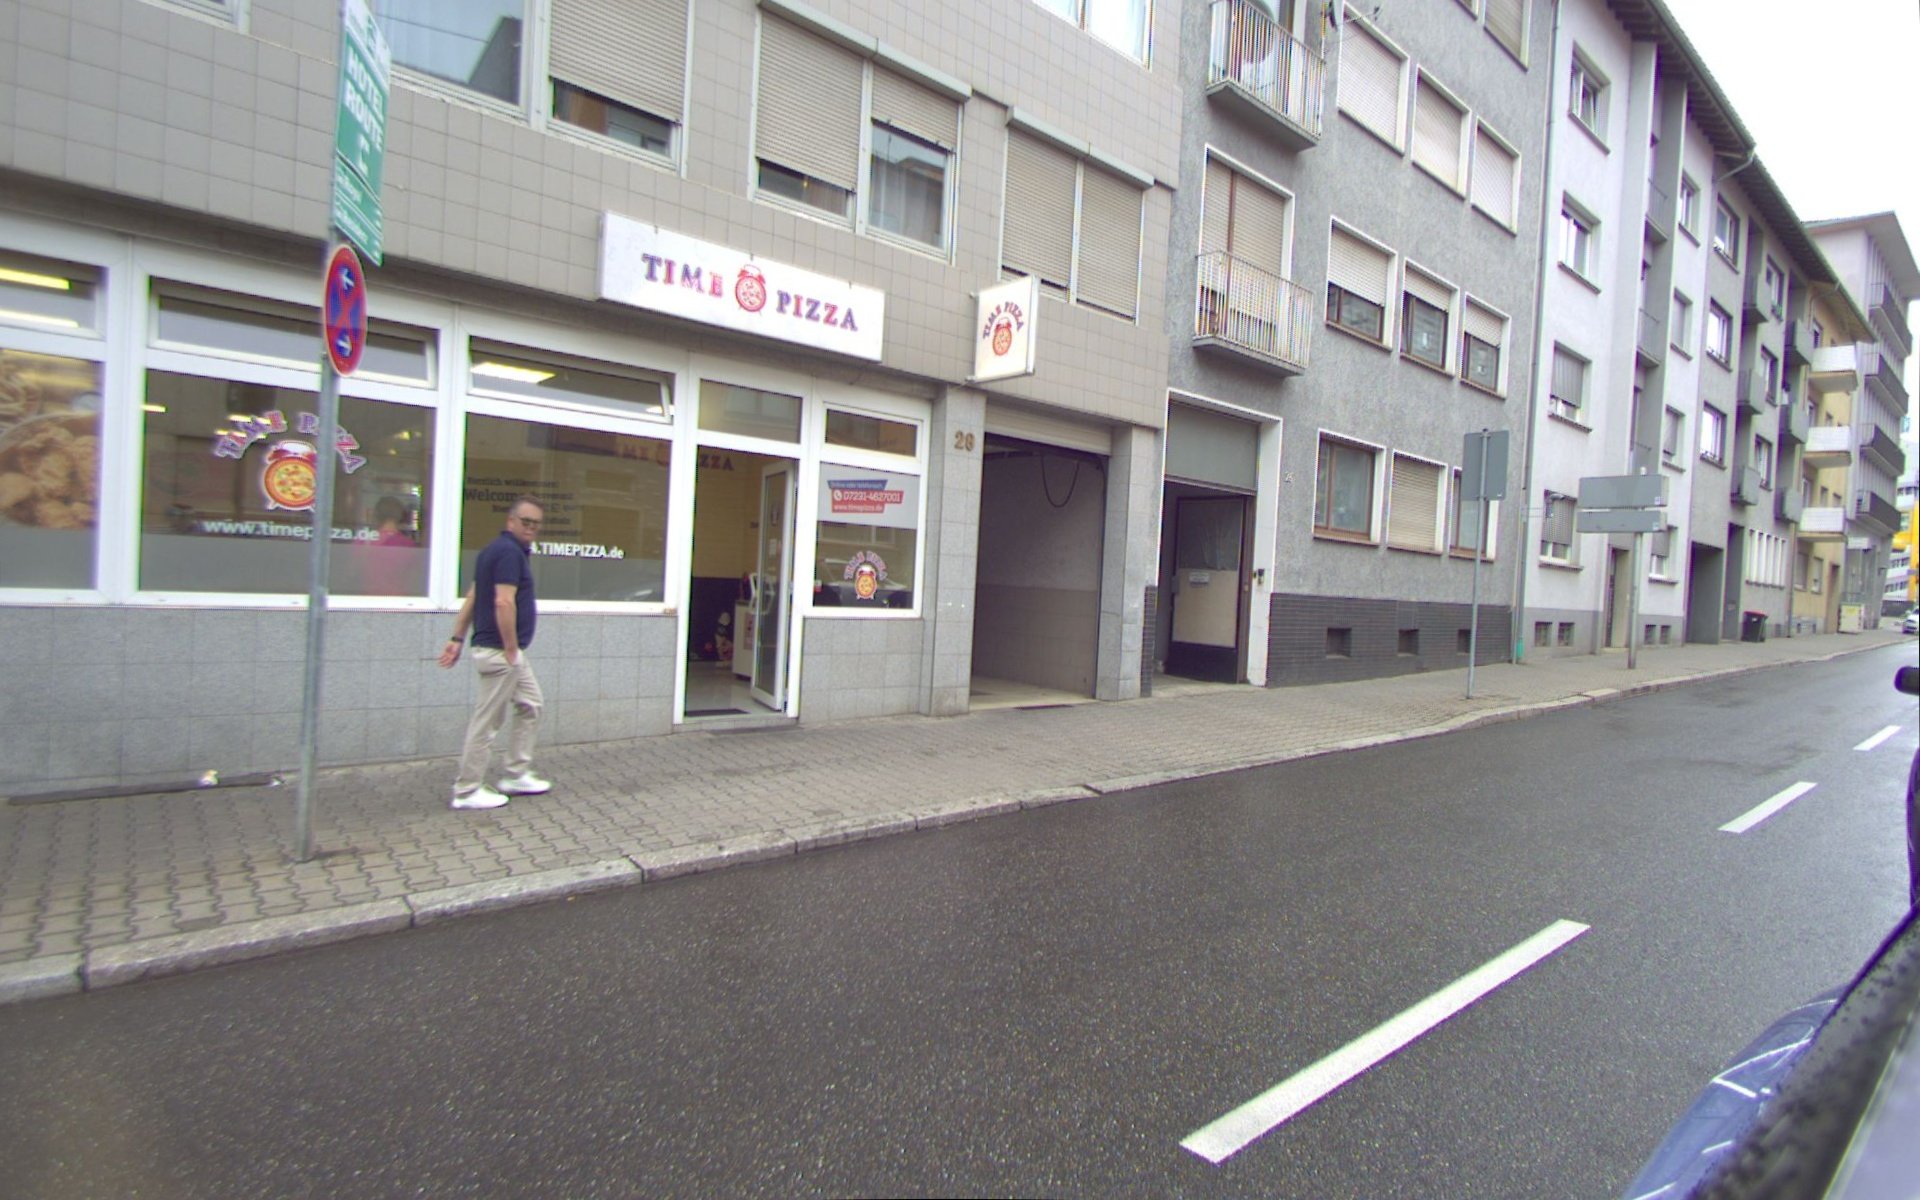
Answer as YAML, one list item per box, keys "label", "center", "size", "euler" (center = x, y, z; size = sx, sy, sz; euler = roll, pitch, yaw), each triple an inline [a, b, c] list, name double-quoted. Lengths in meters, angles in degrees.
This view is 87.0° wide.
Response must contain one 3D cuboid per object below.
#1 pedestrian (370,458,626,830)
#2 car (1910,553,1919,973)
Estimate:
- label: "pedestrian"
  center: [-2.657, 0.185, 5.810]
  size: [1.100, 1.887, 0.871]
  euler: [0, 6, -41]
- label: "car"
  center: [6.076, 0.658, 4.929]
  size: [4.144, 1.743, 1.697]
  euler: [-1, 0, -41]
